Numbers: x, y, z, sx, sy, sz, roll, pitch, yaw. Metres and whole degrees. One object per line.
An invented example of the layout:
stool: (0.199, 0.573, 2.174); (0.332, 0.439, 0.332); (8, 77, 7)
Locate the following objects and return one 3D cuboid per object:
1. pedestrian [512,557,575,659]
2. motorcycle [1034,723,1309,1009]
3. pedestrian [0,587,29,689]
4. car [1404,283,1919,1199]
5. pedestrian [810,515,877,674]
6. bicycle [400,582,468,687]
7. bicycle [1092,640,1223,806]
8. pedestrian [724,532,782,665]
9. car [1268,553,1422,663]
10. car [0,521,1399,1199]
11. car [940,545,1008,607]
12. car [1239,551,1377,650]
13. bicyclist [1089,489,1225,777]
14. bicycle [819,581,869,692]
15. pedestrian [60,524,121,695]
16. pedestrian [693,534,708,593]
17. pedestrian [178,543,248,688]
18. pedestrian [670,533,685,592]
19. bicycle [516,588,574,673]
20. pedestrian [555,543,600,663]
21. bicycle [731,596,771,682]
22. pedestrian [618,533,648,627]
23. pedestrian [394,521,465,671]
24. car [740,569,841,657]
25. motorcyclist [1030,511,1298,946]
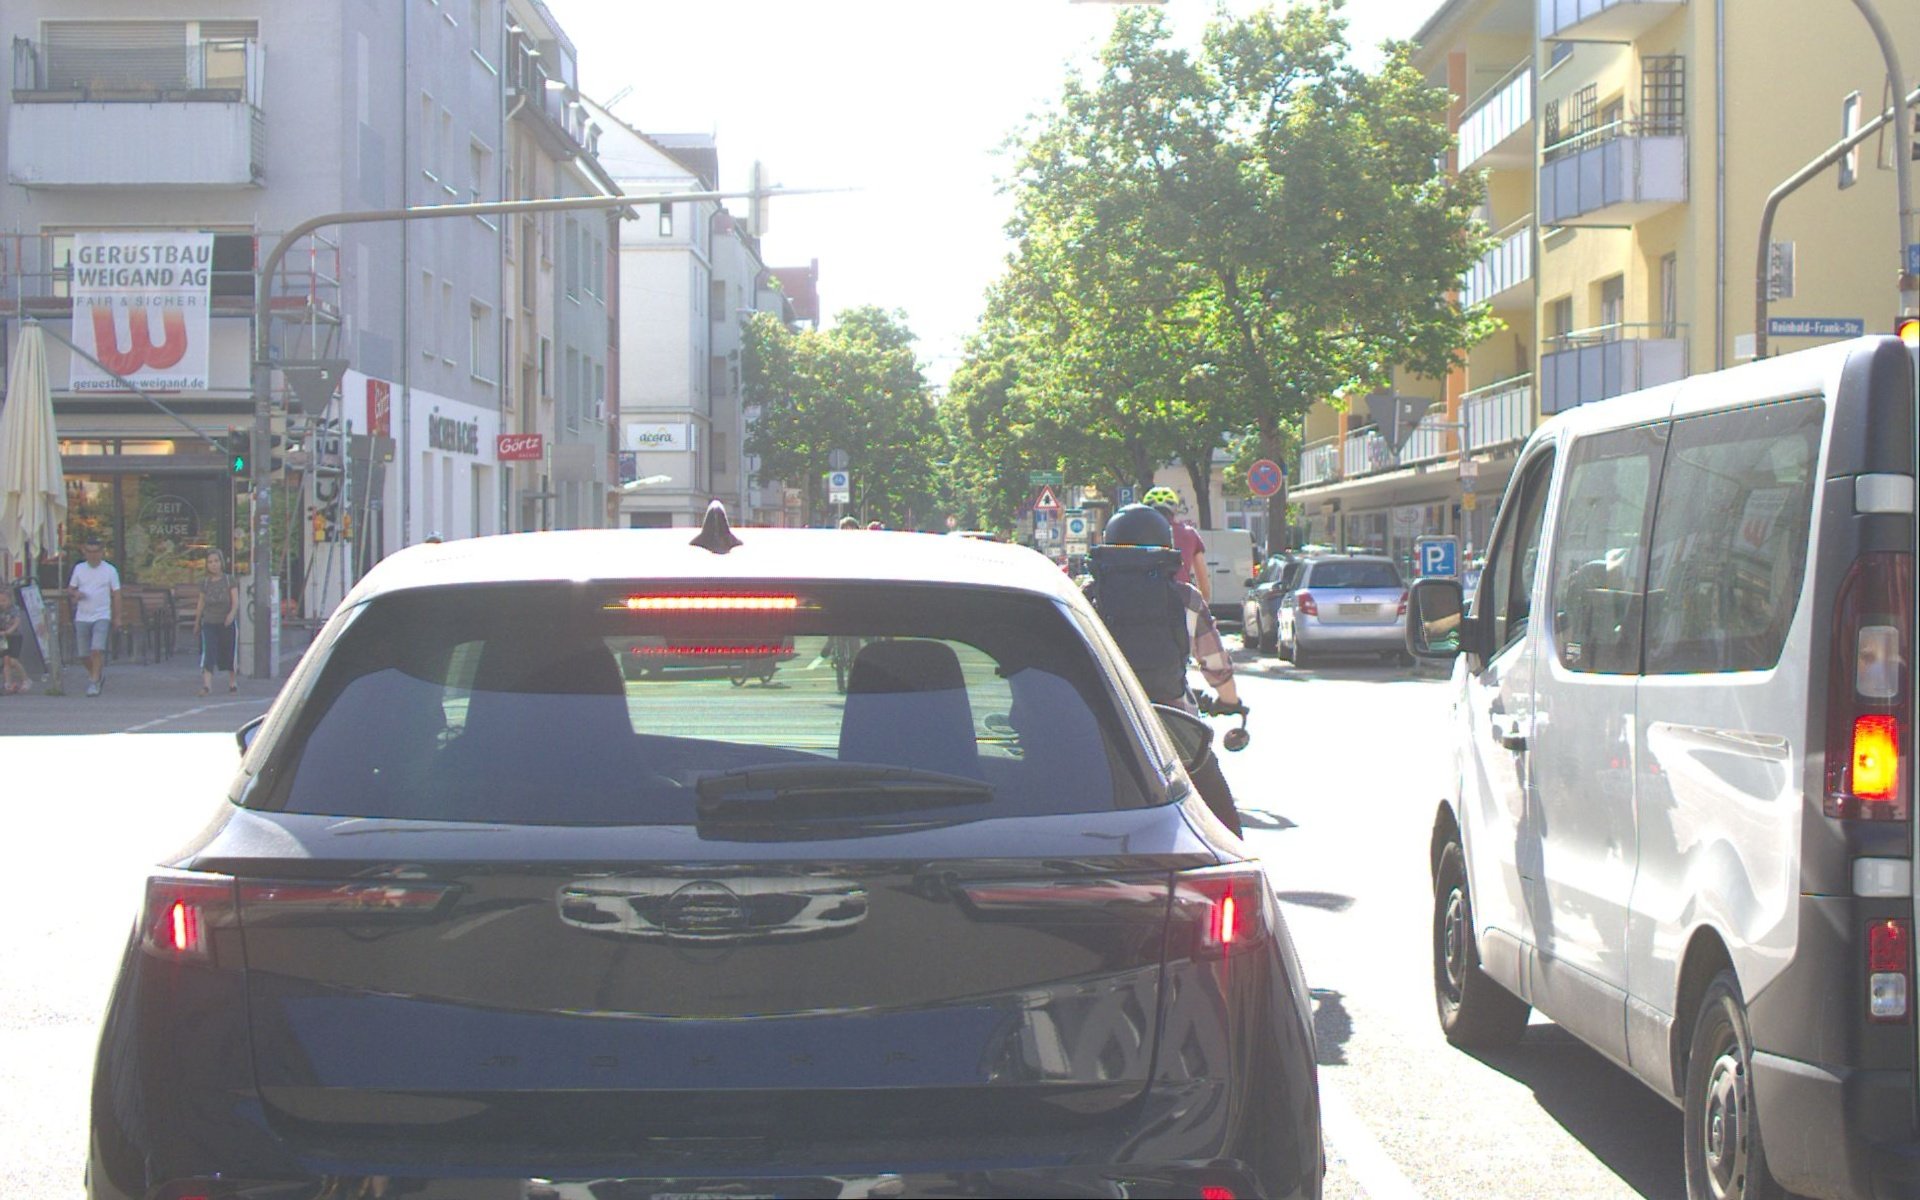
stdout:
pedestrian: (-5.140, 0.092, 42.441); (0.706, 1.249, 0.802); (0, 1, -2)
motorcycle: (0.714, 0.910, 12.241); (0.825, 0.842, 1.885); (0, 1, -1)
pedestrian: (-10.263, 0.405, 37.032); (0.355, 1.088, 0.462); (0, 1, -3)
car: (2.476, 0.423, 8.510); (1.993, 1.972, 4.895); (2, 1, -1)
pedestrian: (-1.261, -0.063, 37.160); (0.706, 1.695, 0.802); (0, 1, -2)
bicycle: (-5.981, 0.376, 39.182); (0.521, 1.143, 2.284); (0, 1, -2)
bicycle: (1.190, 0.730, 21.144); (0.577, 0.901, 2.301); (0, 1, -2)
pedestrian: (-2.504, -0.022, 41.577); (0.680, 1.600, 0.762); (0, 1, -2)
car: (5.251, 0.084, 47.260); (1.634, 1.428, 3.957); (0, 1, -1)
car: (-0.417, 0.629, 6.298); (1.770, 1.525, 4.001); (0, 1, -2)
car: (0.406, -0.707, 98.160); (1.902, 1.722, 4.073); (0, 1, 0)
car: (5.211, -0.022, 51.940); (1.634, 1.428, 4.000); (0, 1, -1)
bicyclist: (1.195, 0.186, 21.088); (0.689, 1.707, 1.414); (0, 1, -2)
bicycle: (-1.263, 0.381, 37.198); (0.521, 1.143, 2.170); (0, 1, -2)
pedestrian: (-9.071, 0.091, 35.886); (0.561, 1.769, 0.584); (0, 1, -9)
pedestrian: (-7.388, -1.042, 97.884); (0.402, 1.669, 0.418); (0, 1, -1)
pedestrian: (-7.857, 0.155, 36.175); (0.617, 1.516, 0.725); (0, 1, -3)
pedestrian: (-8.044, -1.062, 98.029); (0.402, 1.669, 0.418); (0, 1, -1)
bicycle: (-5.126, 0.368, 42.530); (0.521, 0.989, 2.340); (0, 1, -2)
pedestrian: (-5.398, 0.039, 48.495); (0.570, 1.684, 0.588); (0, 1, -1)
bicycle: (-2.528, 0.457, 41.687); (0.443, 0.989, 2.069); (0, 1, -2)
pedestrian: (-5.880, -0.368, 61.772); (0.488, 1.684, 0.588); (0, 1, -1)
pedestrian: (-5.974, -0.046, 38.743); (0.706, 1.672, 0.802); (0, 1, -2)
car: (-3.455, 0.242, 70.751); (1.825, 1.722, 4.000); (0, 1, 1)
motorcyclist: (0.717, 0.435, 12.442); (0.864, 1.497, 1.160); (0, 1, -2)
